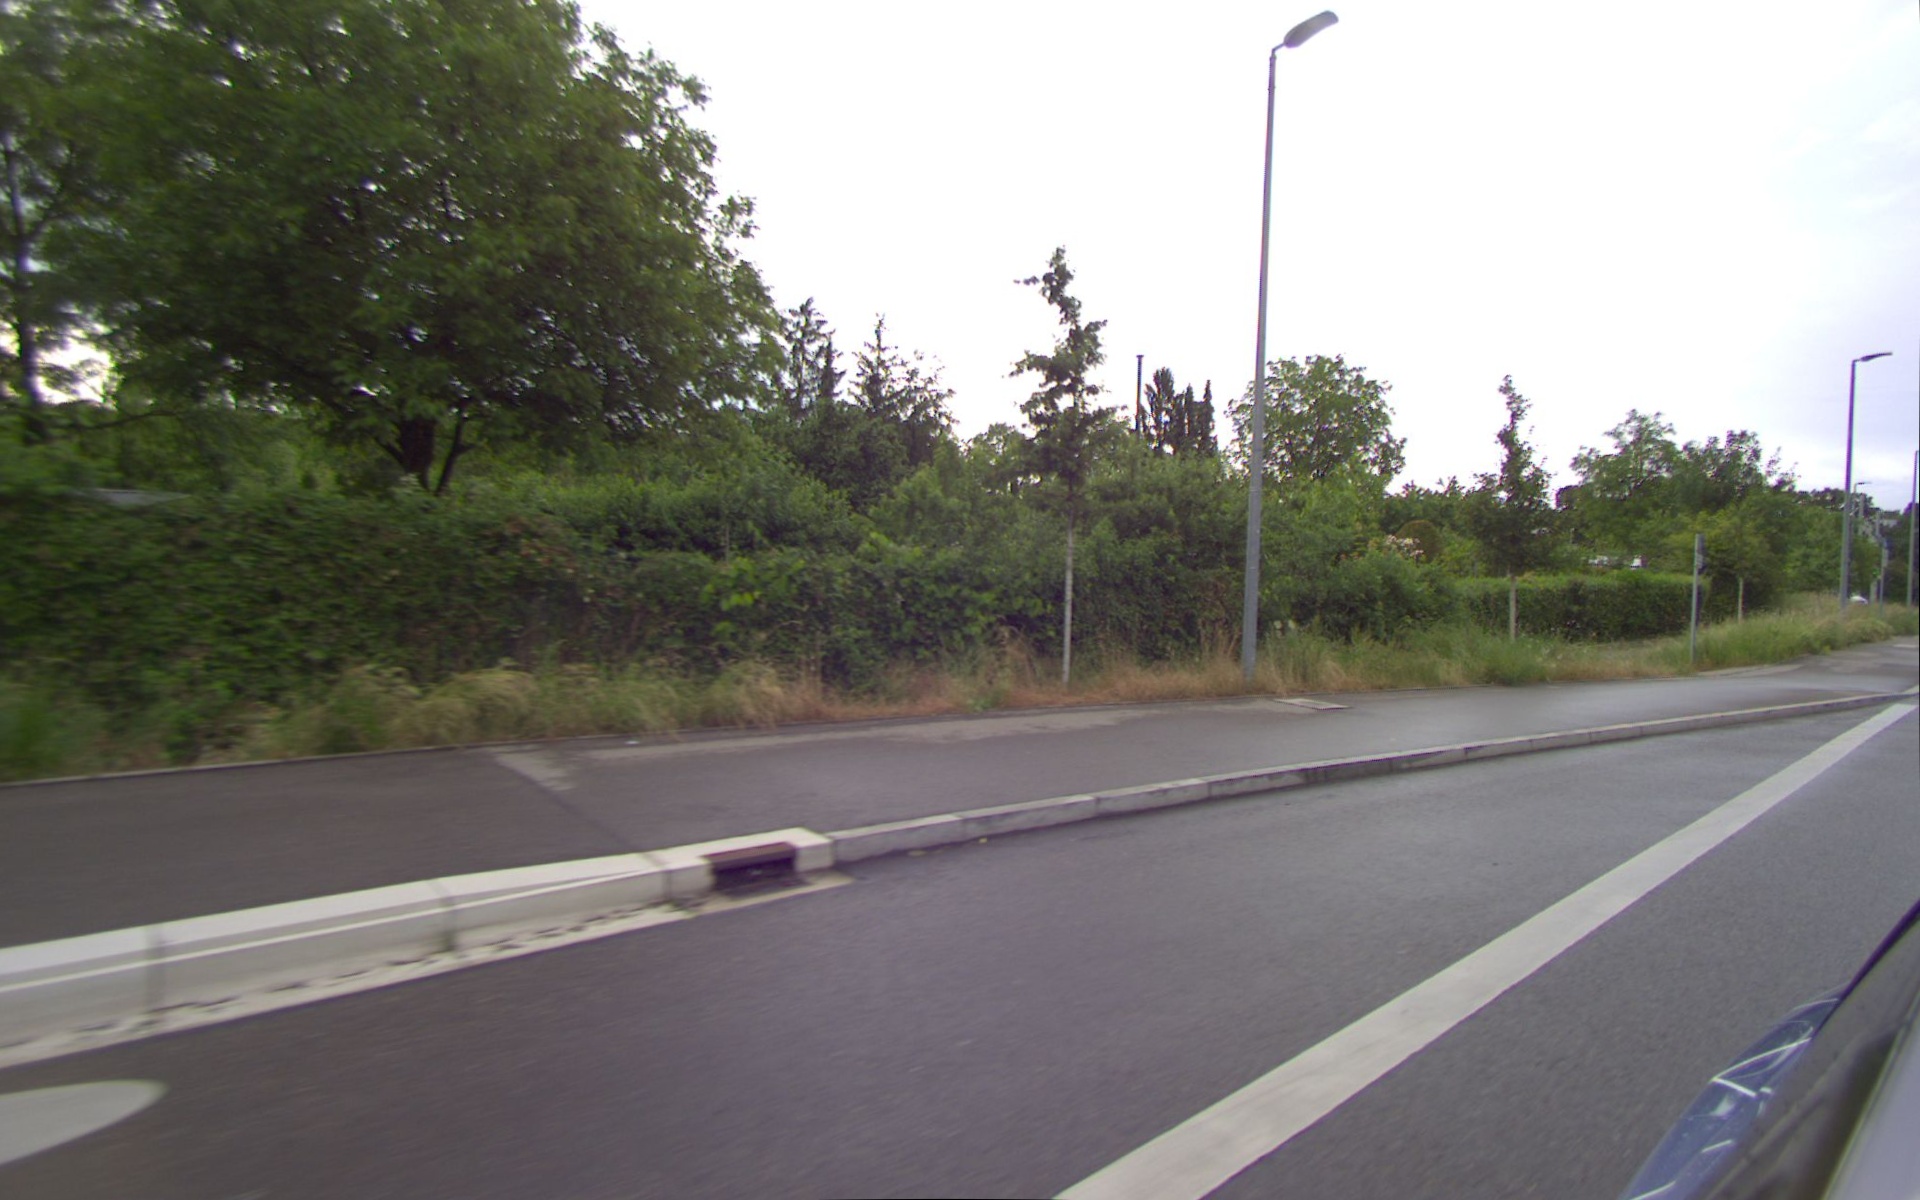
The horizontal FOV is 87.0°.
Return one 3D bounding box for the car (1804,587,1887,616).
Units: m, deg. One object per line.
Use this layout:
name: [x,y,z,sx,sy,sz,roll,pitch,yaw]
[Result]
car: [60.107,0.094,68.798,1.787,1.623,4.071,-1,5,-4]
